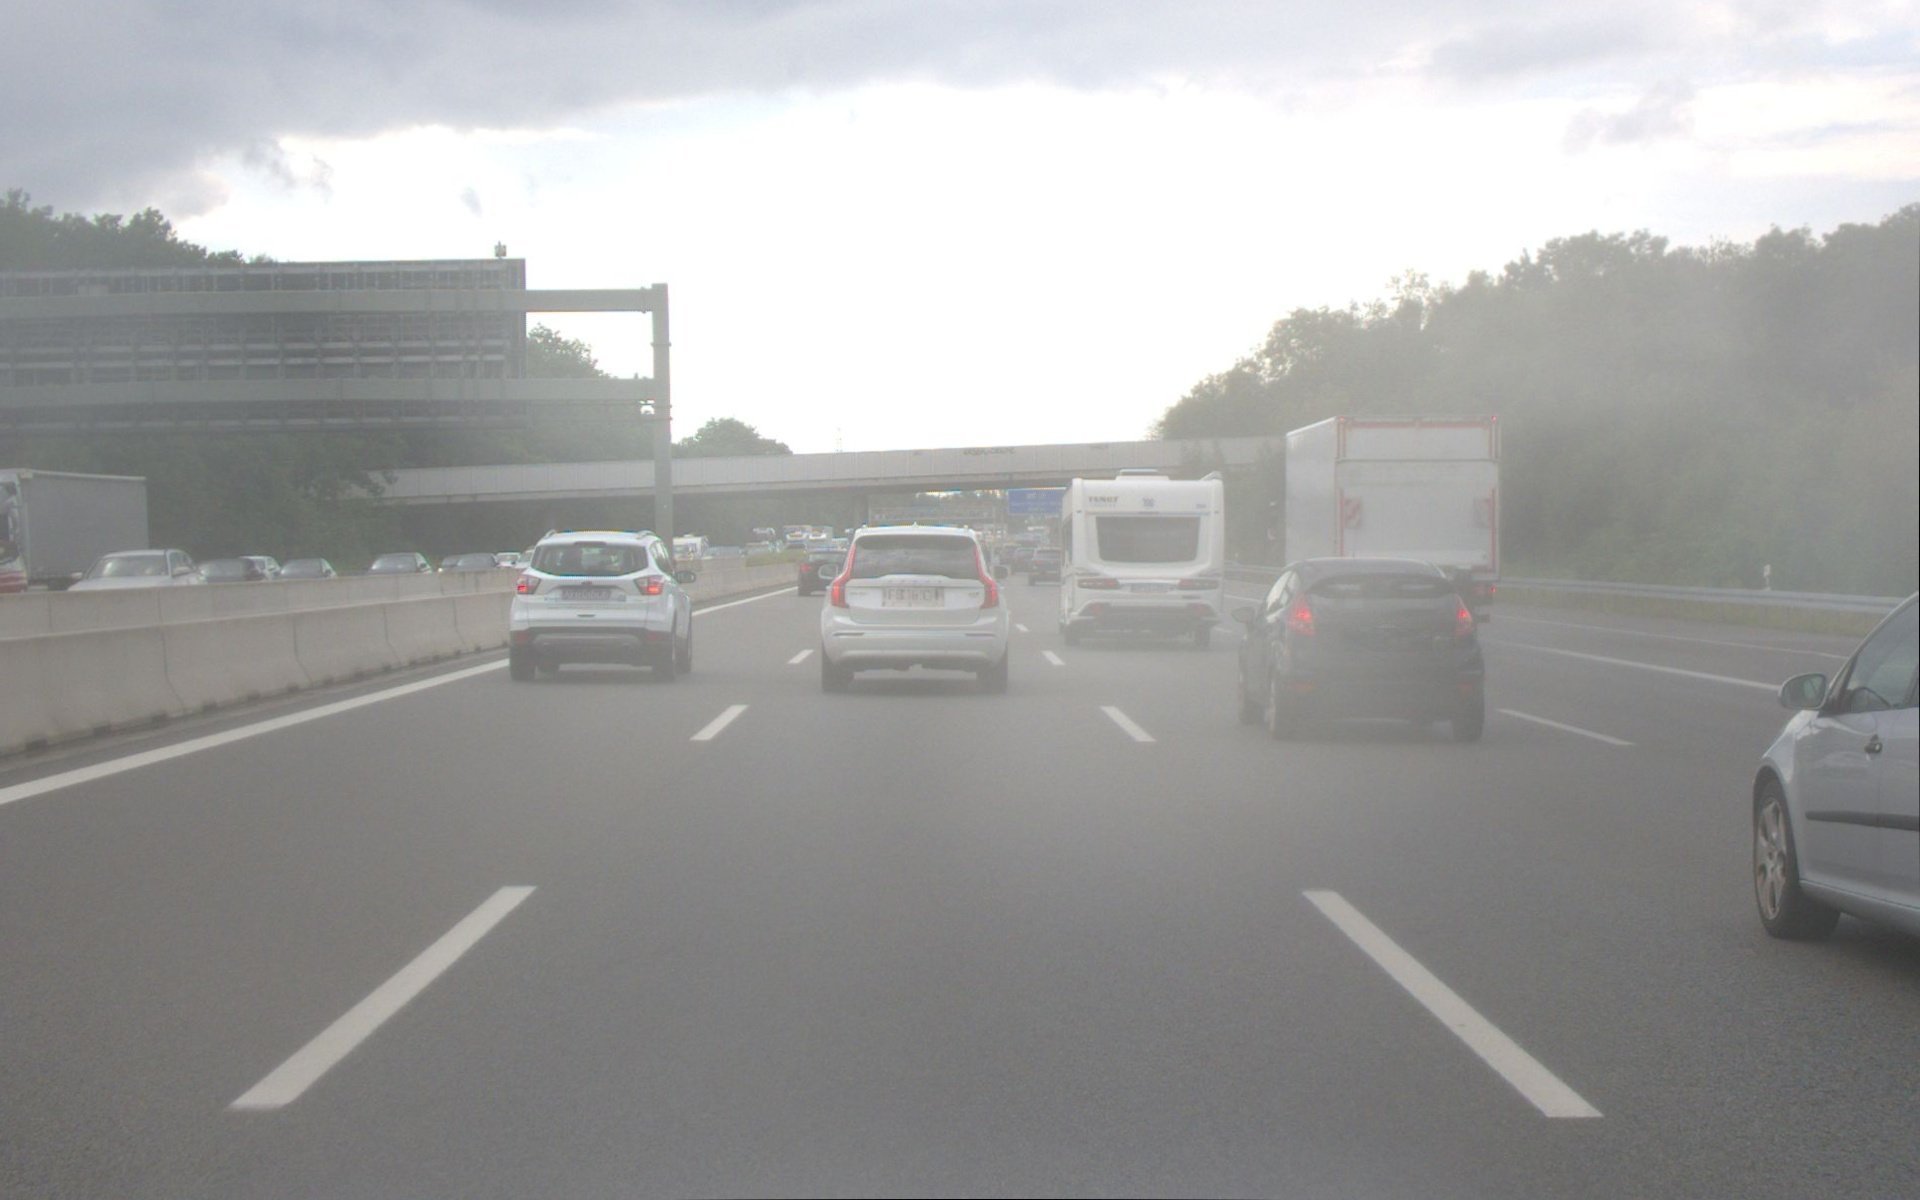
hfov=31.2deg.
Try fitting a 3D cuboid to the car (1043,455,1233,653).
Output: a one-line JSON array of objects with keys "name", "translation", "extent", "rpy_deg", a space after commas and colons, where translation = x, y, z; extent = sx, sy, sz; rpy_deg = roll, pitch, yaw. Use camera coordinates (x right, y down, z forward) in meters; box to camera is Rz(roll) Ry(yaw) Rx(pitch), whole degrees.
[{"name": "car", "translation": [2.702, -0.741, 54.222], "extent": [2.567, 2.885, 7.534], "rpy_deg": [0, 1, 0]}]

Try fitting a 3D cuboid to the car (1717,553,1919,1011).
[{"name": "car", "translation": [3.993, 0.585, 11.886], "extent": [1.795, 1.472, 4.038], "rpy_deg": [0, 1, -1]}]

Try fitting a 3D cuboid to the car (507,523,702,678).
[{"name": "car", "translation": [-4.047, -0.049, 39.797], "extent": [1.815, 1.684, 4.852], "rpy_deg": [0, 1, -1]}]

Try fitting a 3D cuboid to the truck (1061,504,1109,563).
[{"name": "truck", "translation": [8.086, -4.310, 223.210], "extent": [2.906, 3.797, 7.274], "rpy_deg": [0, 1, 1]}]

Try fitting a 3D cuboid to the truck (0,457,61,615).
[{"name": "truck", "translation": [-26.094, -1.689, 90.551], "extent": [3.220, 4.043, 6.233], "rpy_deg": [0, 1, 0]}]

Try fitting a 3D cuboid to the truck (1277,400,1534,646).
[{"name": "truck", "translation": [7.190, -1.255, 56.910], "extent": [3.133, 3.697, 9.847], "rpy_deg": [0, 1, 1]}]

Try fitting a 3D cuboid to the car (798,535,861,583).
[{"name": "car", "translation": [-4.068, -1.307, 107.817], "extent": [1.781, 1.476, 4.353], "rpy_deg": [0, 1, 0]}]

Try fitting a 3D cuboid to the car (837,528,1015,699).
[{"name": "car", "translation": [-0.392, 0.098, 36.897], "extent": [1.781, 1.710, 4.353], "rpy_deg": [0, 1, -1]}]

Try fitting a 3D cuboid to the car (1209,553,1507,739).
[{"name": "car", "translation": [3.209, 0.326, 28.524], "extent": [1.885, 1.402, 4.283], "rpy_deg": [0, 1, -1]}]

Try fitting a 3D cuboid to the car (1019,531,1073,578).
[{"name": "car", "translation": [3.365, -1.804, 135.304], "extent": [2.043, 1.817, 4.904], "rpy_deg": [0, 1, 1]}]

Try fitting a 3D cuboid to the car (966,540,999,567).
[{"name": "car", "translation": [1.437, -3.015, 222.401], "extent": [1.881, 1.680, 4.001], "rpy_deg": [0, 1, -3]}]

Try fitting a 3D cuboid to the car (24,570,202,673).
[{"name": "car", "translation": [-14.948, 0.344, 60.924], "extent": [1.993, 1.709, 4.872], "rpy_deg": [0, 1, -1]}]
